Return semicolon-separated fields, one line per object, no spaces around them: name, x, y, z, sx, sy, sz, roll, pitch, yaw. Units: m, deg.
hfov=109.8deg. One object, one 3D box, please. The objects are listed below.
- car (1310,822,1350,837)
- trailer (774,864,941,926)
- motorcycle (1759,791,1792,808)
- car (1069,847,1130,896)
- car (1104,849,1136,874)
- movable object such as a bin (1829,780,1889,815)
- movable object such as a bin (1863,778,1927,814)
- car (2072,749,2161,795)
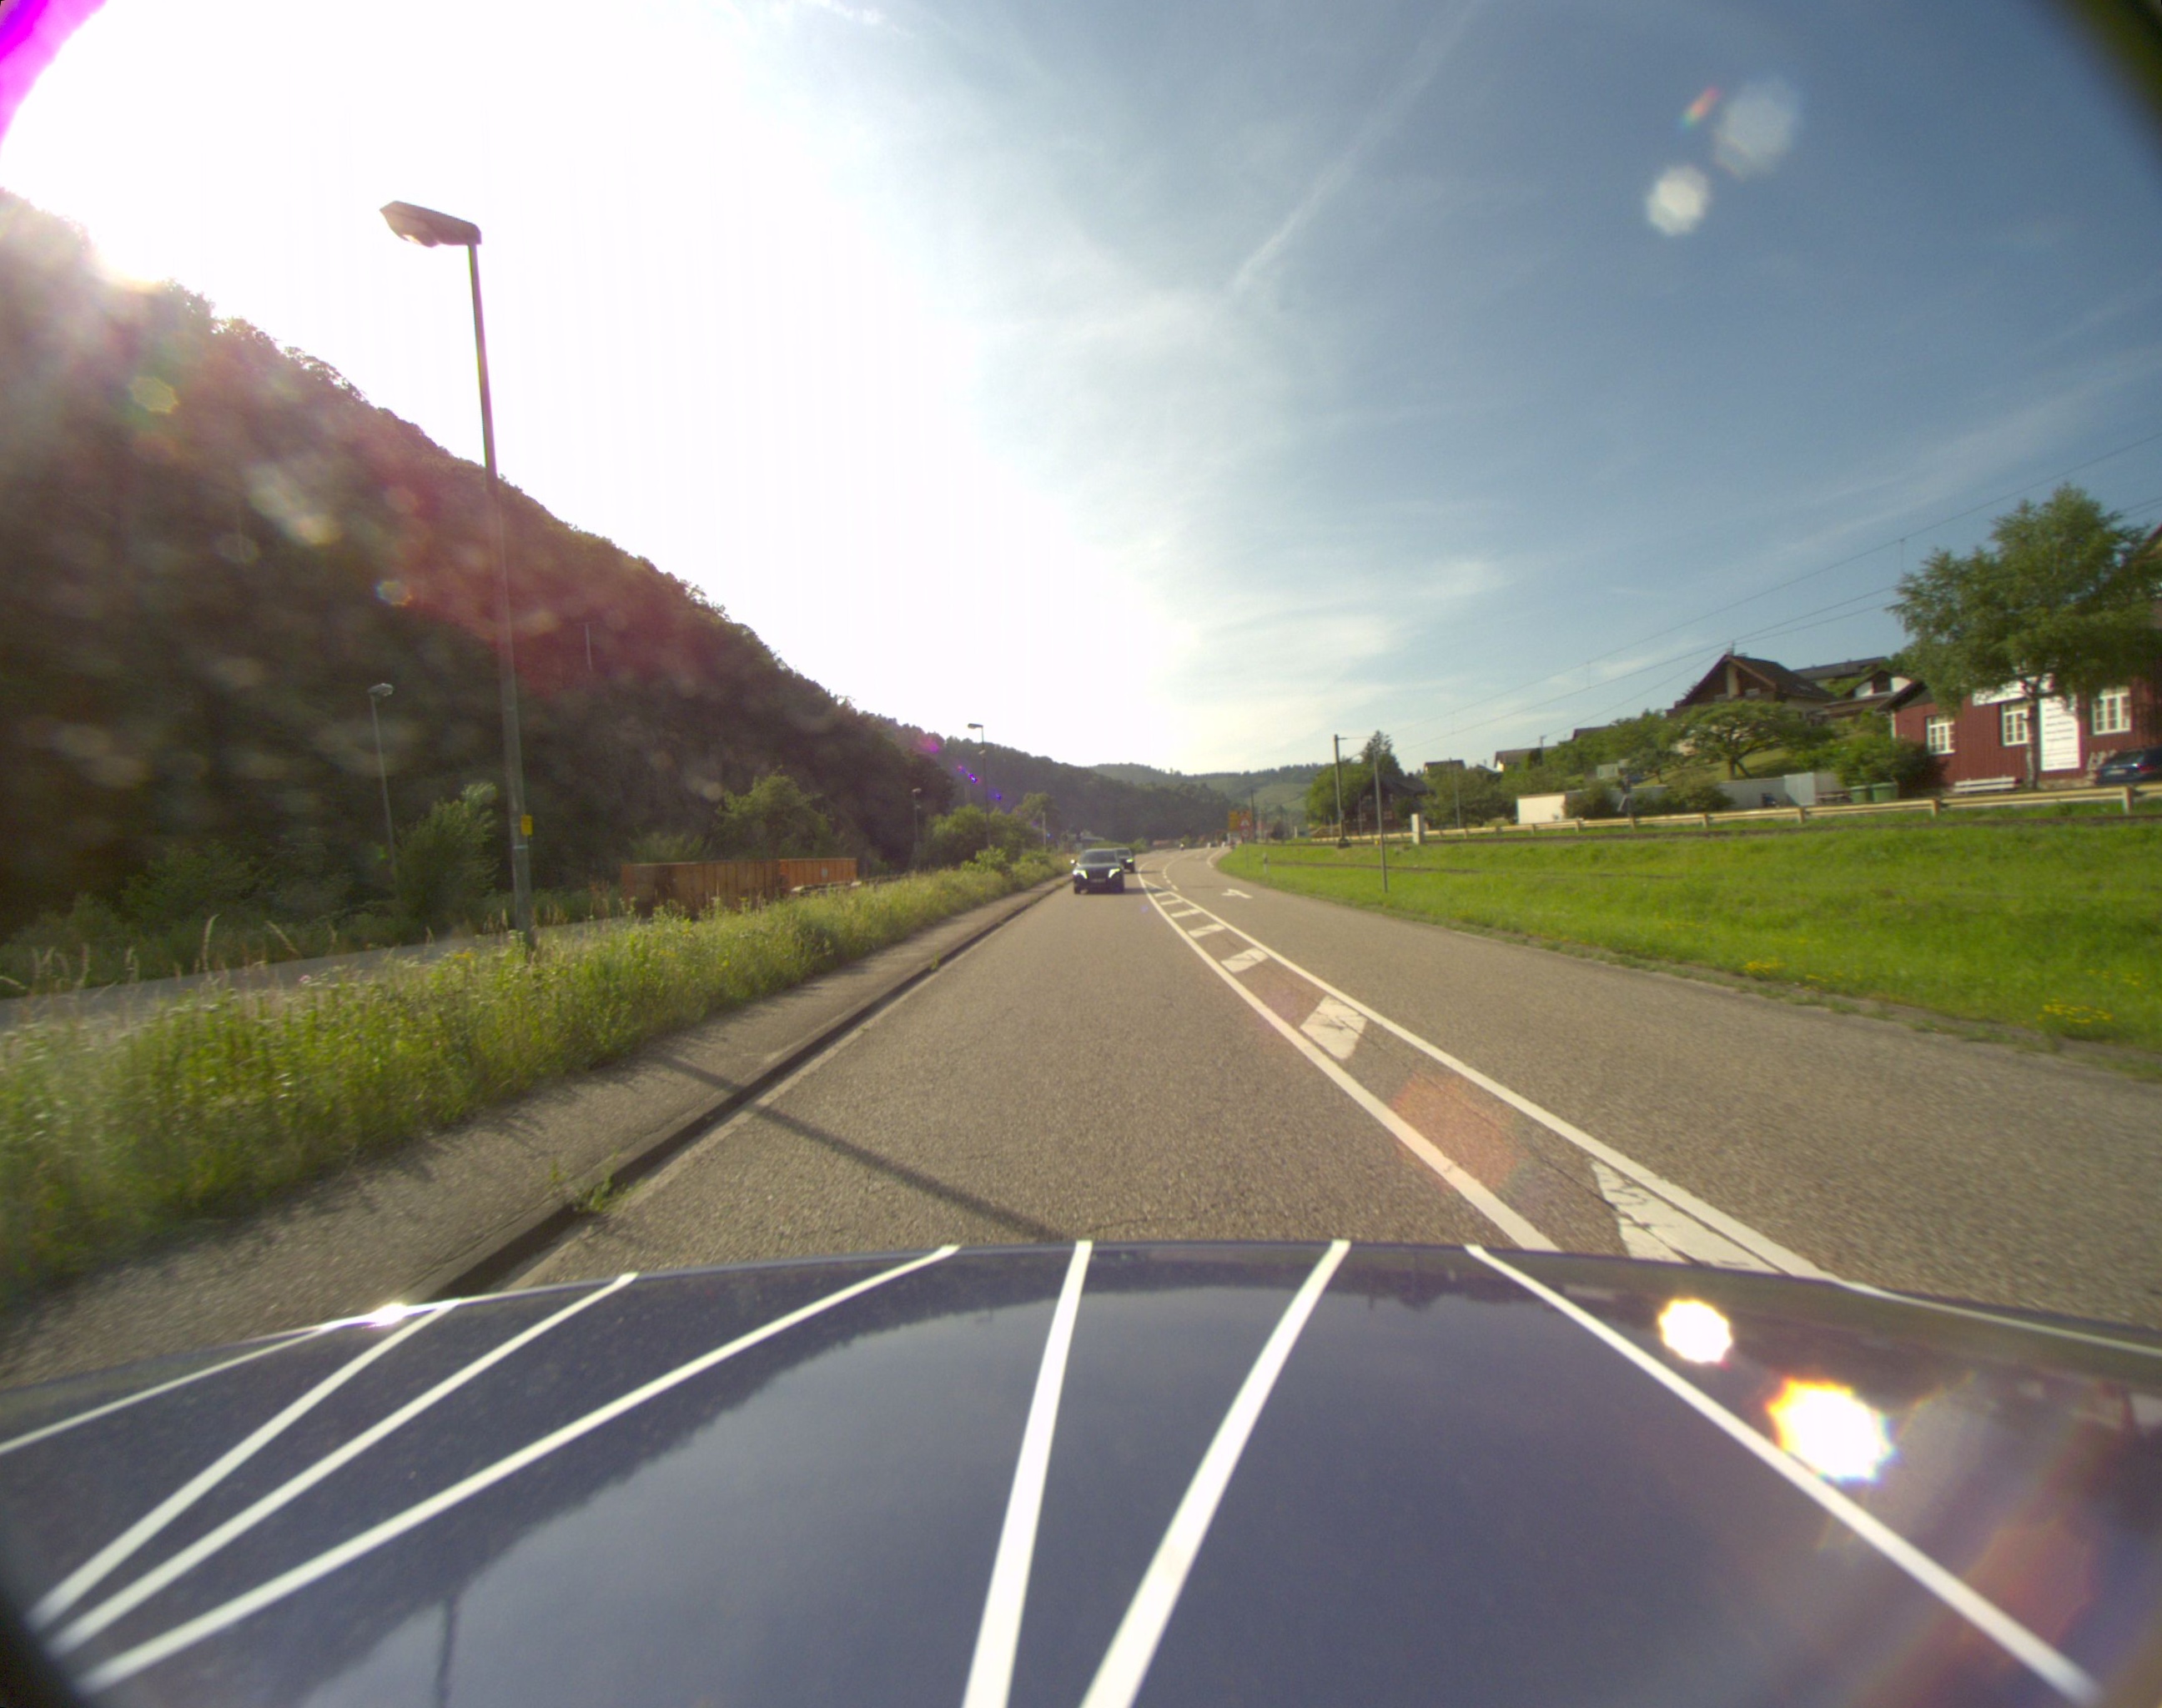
car;49.589;-4.807;151.248;7.071;2.442;2.953;-4;0;24
trailer;-7.801;1.328;28.349;2.798;1.466;9.888;-5;0;2
motorcycle;45.326;-3.561;49.604;0.664;0.987;1.744;-4;0;6
car;0.830;0.637;29.746;1.998;1.661;5.512;-2;0;5
car;2.607;0.461;50.427;1.918;1.455;4.001;-4;0;3
movable object such as a bin;29.808;-2.164;29.136;1.143;1.185;1.093;-4;1;-4
movable object such as a bin;29.879;-2.115;27.906;1.143;1.185;1.093;-4;1;-4
car;34.611;-2.687;23.871;4.102;1.263;1.738;-4;0;11
